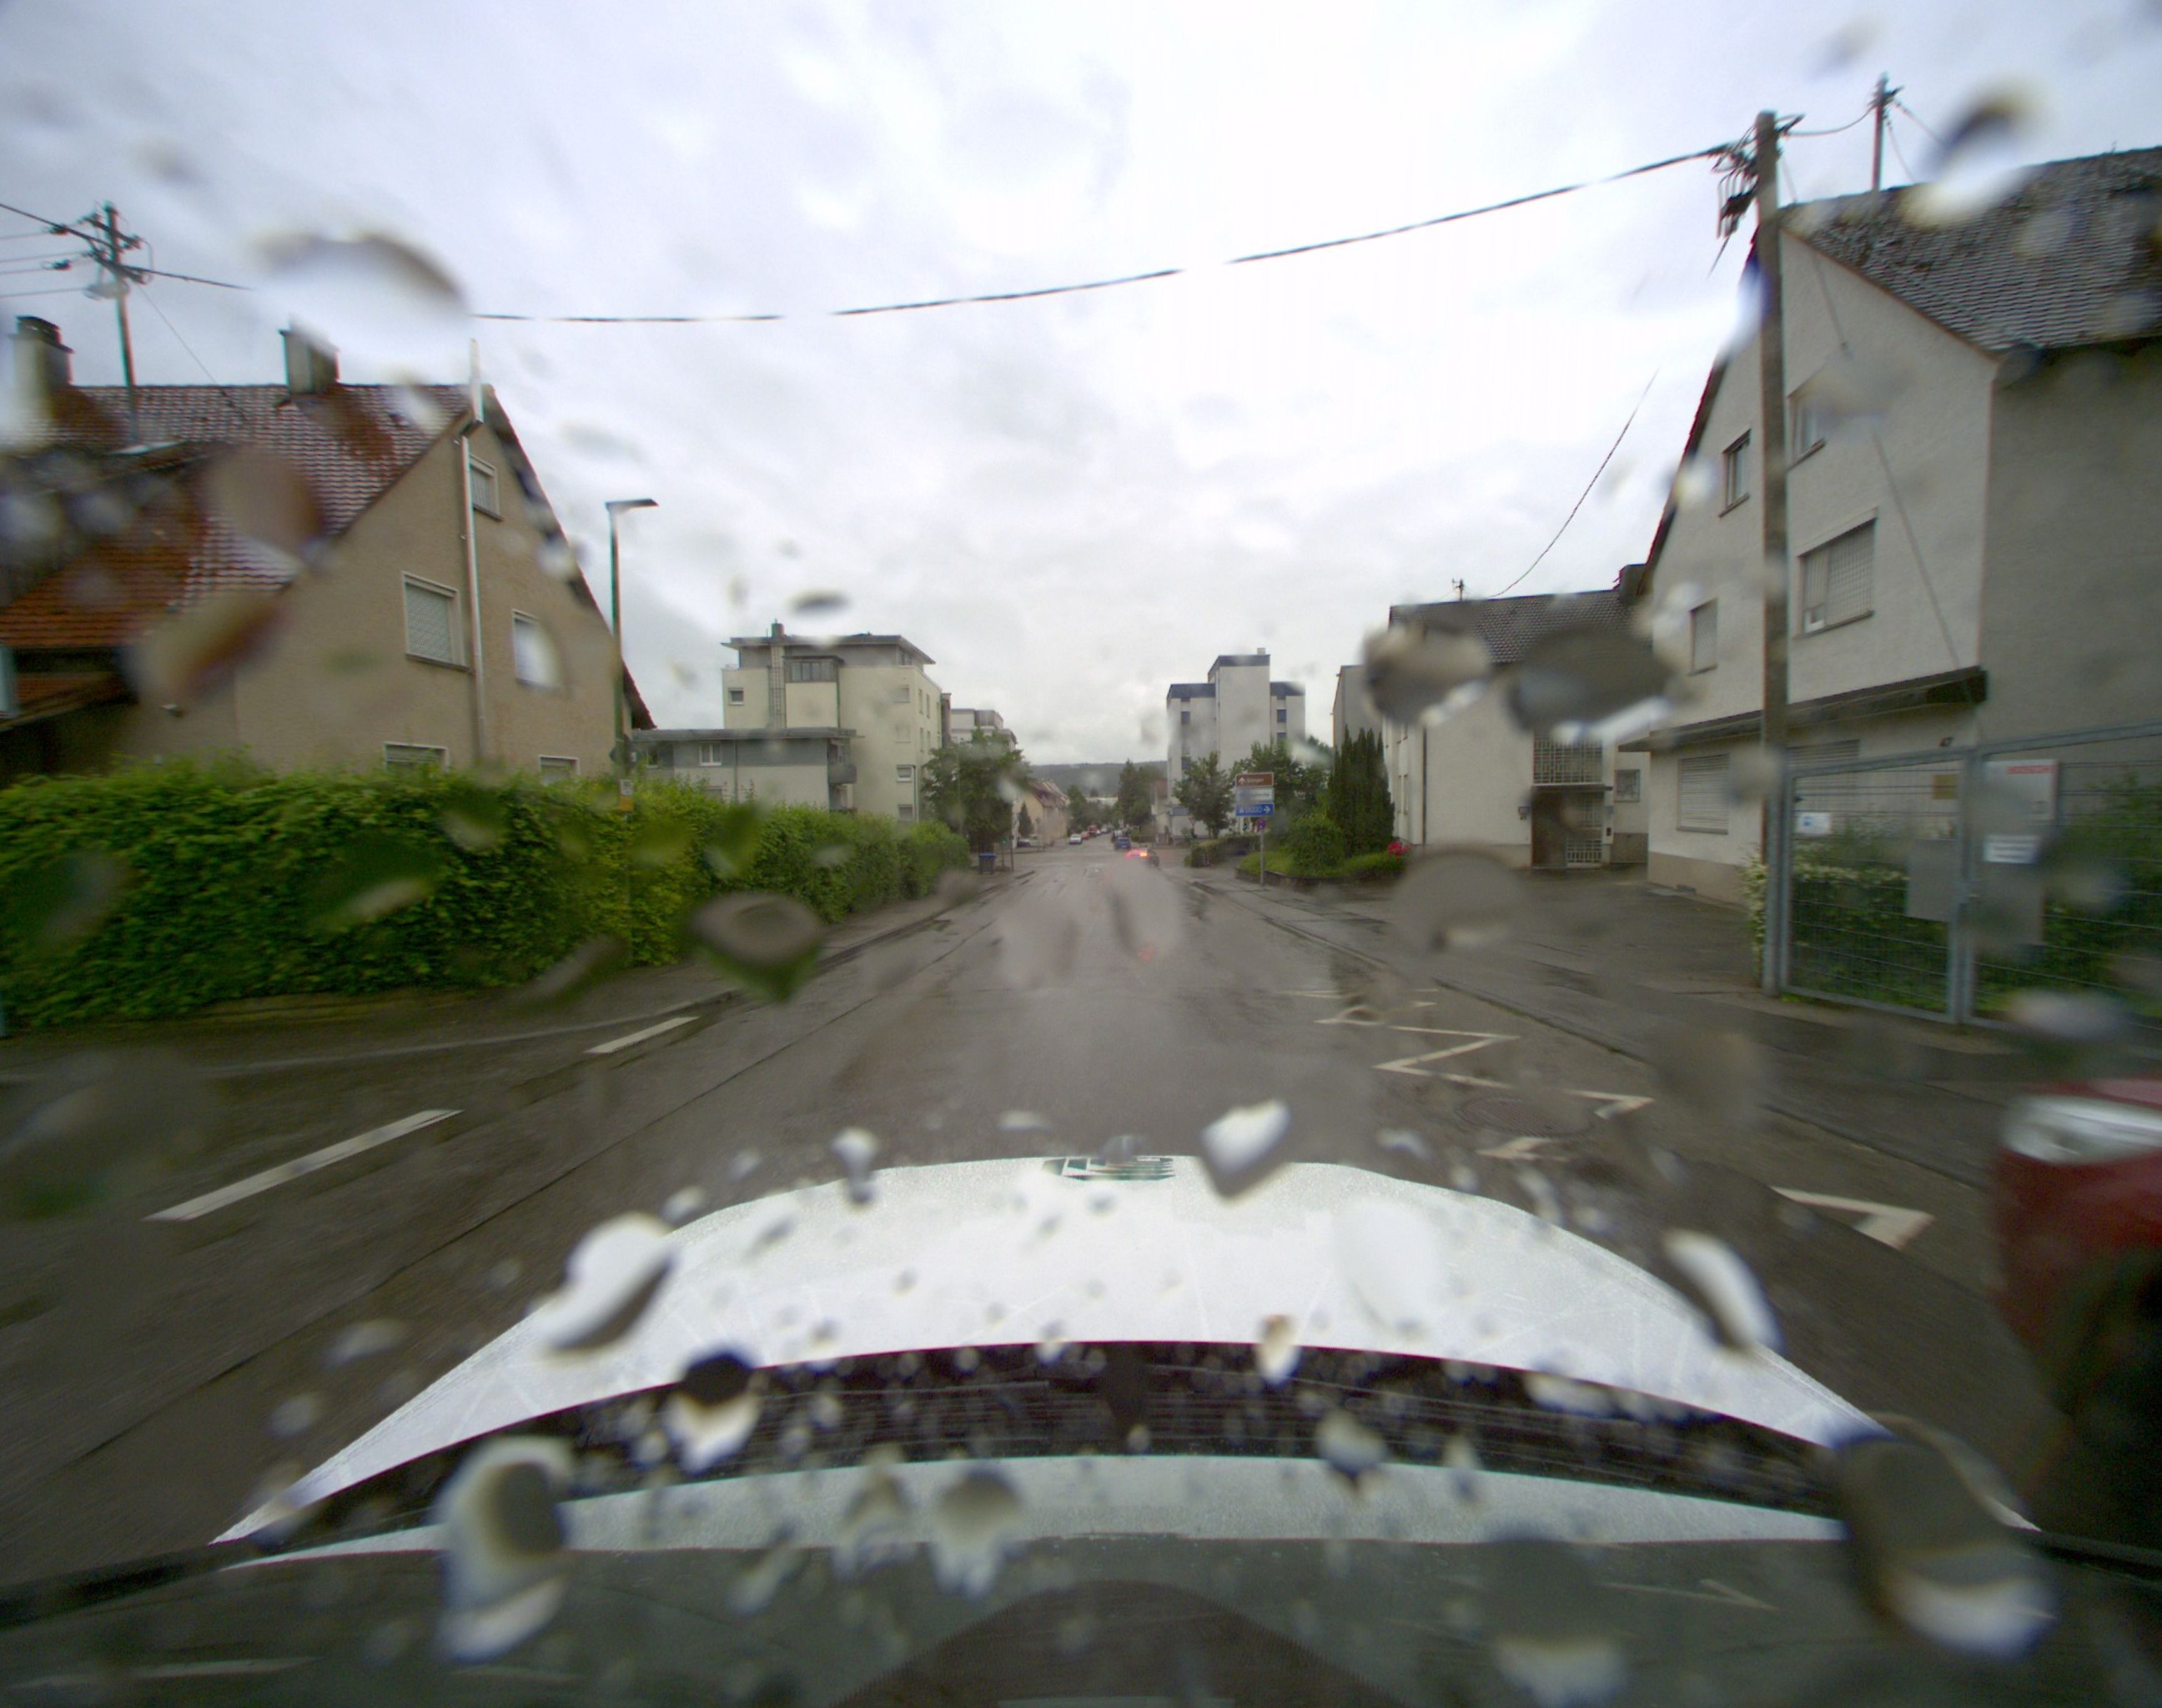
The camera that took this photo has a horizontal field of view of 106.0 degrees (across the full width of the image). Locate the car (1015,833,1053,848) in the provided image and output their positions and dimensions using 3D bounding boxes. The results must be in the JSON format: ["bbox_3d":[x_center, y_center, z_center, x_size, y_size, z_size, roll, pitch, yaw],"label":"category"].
[{"bbox_3d":[-6.352,-1.896,111.421,4.867,1.835,1.978,-4,2,-37],"label":"car"}]

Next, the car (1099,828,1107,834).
[{"bbox_3d":[5.910,-6.242,218.119,1.894,1.558,4.195,-2,2,2],"label":"car"}]

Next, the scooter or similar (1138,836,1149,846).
[{"bbox_3d":[7.813,-1.625,102.035,1.265,1.081,0.876,-2,2,-3],"label":"scooter or similar"}]

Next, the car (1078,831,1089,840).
[{"bbox_3d":[0.516,-3.817,167.967,1.894,1.558,4.195,-2,2,2],"label":"car"}]

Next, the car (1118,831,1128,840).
[{"bbox_3d":[8.600,-3.746,166.895,1.894,1.745,4.195,-2,2,2],"label":"car"}]

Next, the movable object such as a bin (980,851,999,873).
[{"bbox_3d":[-5.744,0.484,51.212,1.068,1.347,1.318,0,0,-1],"label":"movable object such as a bin"}]

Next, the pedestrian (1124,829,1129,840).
[{"bbox_3d":[8.425,-3.598,149.731,0.744,1.848,0.525,-3,0,-5],"label":"pedestrian"}]

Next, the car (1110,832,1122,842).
[{"bbox_3d":[6.220,-3.084,145.079,2.138,1.589,4.131,-2,2,2],"label":"car"}]

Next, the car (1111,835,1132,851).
[{"bbox_3d":[4.684,-1.303,94.407,1.989,1.683,3.996,-2,2,-3],"label":"car"}]

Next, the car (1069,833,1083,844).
[{"bbox_3d":[-0.820,-2.523,131.521,1.986,1.625,4.195,-2,2,2],"label":"car"}]

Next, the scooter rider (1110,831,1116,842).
[{"bbox_3d":[5.405,-2.880,136.071,0.755,1.795,0.668,-3,2,-23],"label":"scooter rider"}]

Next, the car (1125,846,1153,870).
[{"bbox_3d":[4.698,0.279,65.290,1.983,1.683,4.008,-2,2,6],"label":"car"}]

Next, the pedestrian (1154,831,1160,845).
[{"bbox_3d":[9.595,-2.031,103.382,0.646,1.647,0.525,1,1,-5],"label":"pedestrian"}]

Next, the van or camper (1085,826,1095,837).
[{"bbox_3d":[2.121,-5.289,190.227,1.894,2.513,4.242,-2,2,2],"label":"van or camper"}]
